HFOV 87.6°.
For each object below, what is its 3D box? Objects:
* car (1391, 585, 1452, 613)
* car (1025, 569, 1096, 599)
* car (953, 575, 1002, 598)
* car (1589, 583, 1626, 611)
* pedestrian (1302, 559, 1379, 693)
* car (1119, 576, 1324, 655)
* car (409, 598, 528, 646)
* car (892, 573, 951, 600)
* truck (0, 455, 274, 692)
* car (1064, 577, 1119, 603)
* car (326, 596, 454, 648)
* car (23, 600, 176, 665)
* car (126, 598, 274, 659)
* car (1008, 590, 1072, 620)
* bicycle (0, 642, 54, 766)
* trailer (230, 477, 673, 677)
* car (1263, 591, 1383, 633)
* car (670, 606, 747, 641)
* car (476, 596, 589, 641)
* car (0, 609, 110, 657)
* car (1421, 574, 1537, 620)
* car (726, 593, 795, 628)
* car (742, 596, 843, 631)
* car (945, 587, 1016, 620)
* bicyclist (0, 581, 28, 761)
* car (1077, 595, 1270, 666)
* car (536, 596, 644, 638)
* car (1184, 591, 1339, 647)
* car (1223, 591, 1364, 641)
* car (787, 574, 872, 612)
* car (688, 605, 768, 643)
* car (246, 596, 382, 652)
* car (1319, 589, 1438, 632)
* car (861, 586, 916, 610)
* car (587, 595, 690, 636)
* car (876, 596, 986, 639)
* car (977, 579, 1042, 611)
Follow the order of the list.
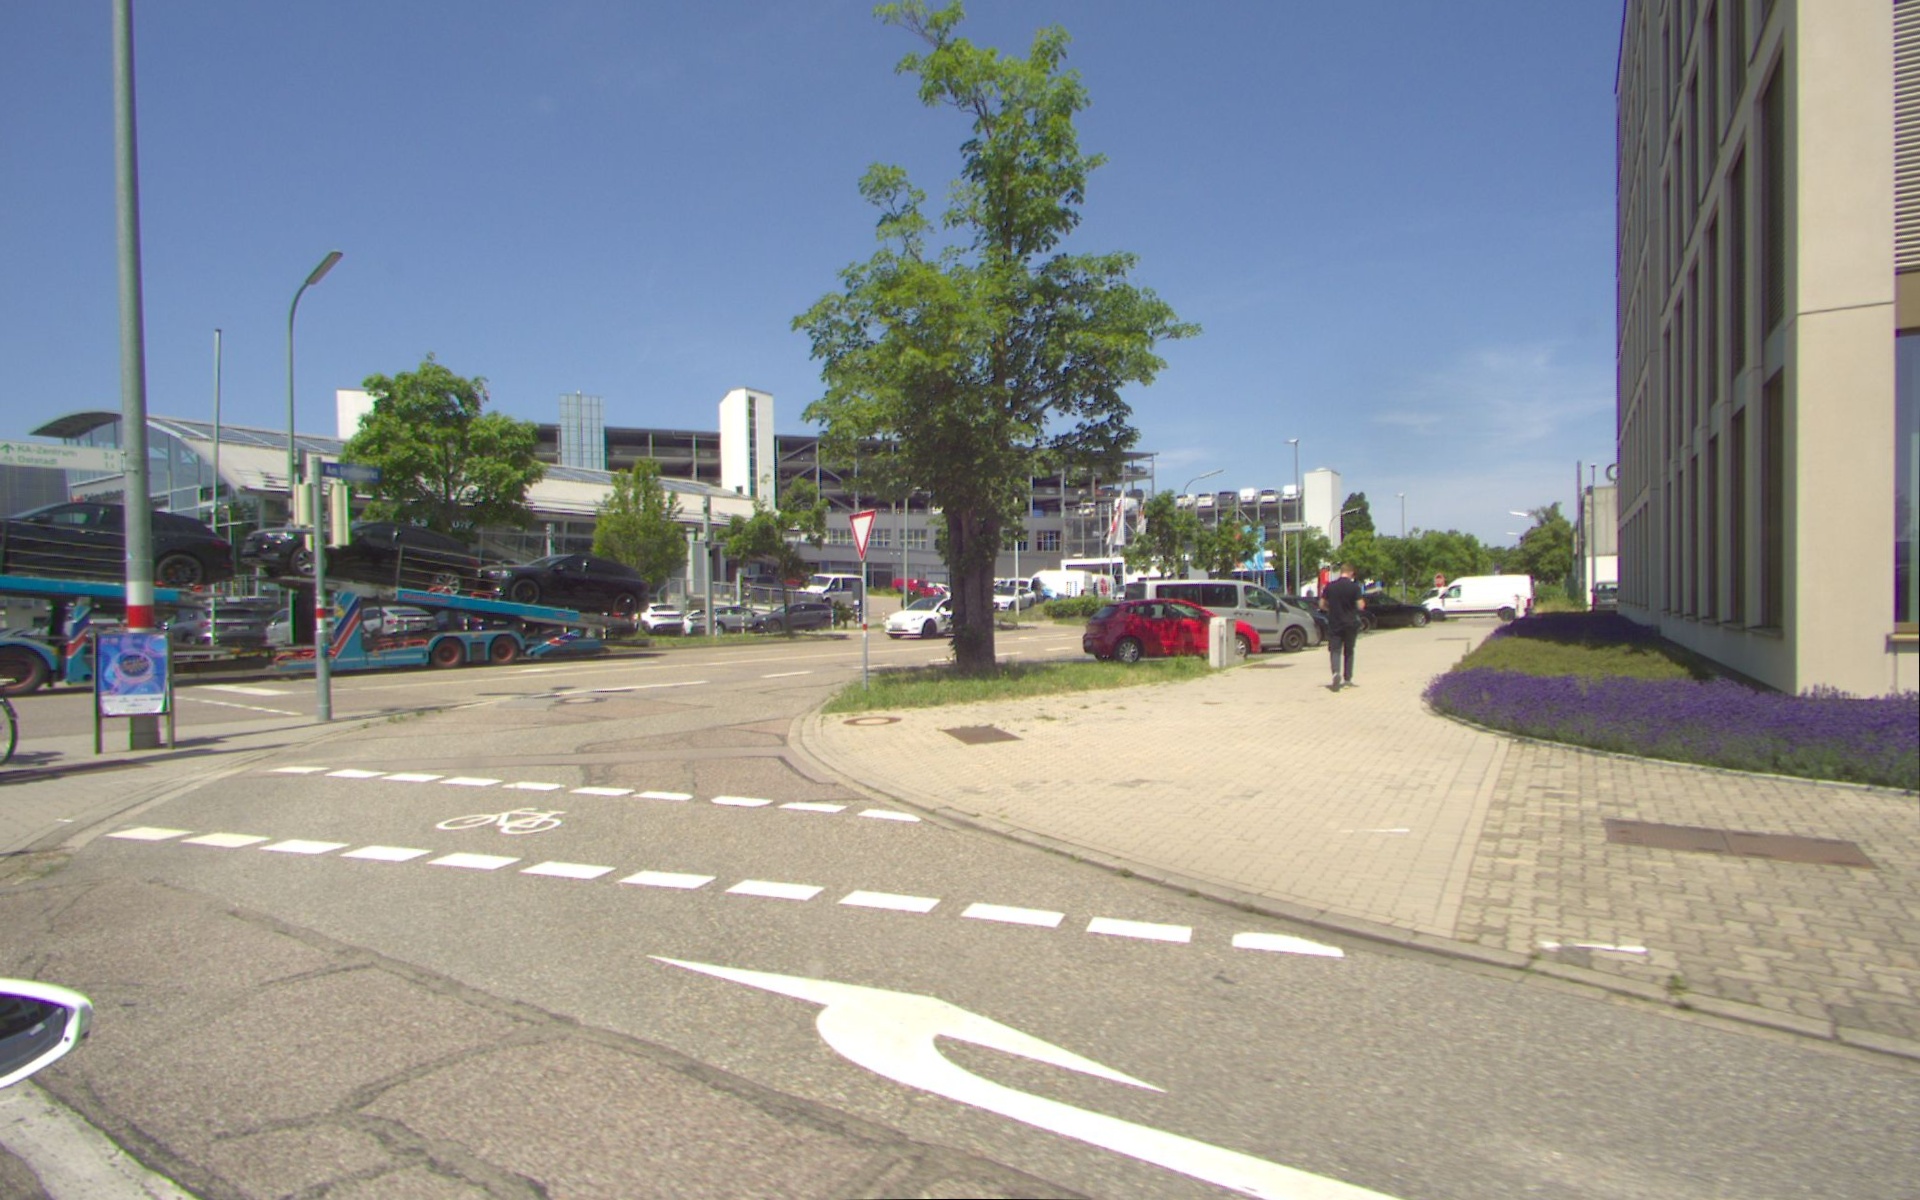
[{"bbox_3d":[35.128,-0.043,76.271,3.948,2.040,1.987,-1,0,36],"label":"car"},{"bbox_3d":[7.159,-1.117,71.443,4.577,2.040,1.990,-1,0,32],"label":"car"},{"bbox_3d":[1.675,-1.275,94.964,4.256,2.040,1.990,-1,0,32],"label":"car"},{"bbox_3d":[37.304,-0.176,57.737,1.764,1.542,3.557,-1,0,32],"label":"car"},{"bbox_3d":[5.525,0.369,14.527,0.764,1.869,0.861,-2,0,39],"label":"pedestrian"},{"bbox_3d":[6.707,0.375,25.813,4.814,1.840,1.703,-1,1,-11],"label":"car"},{"bbox_3d":[-18.046,0.767,36.717,4.409,1.662,1.824,0,1,32],"label":"car"},{"bbox_3d":[-3.079,-1.077,80.342,4.285,2.040,1.991,-1,0,29],"label":"car"},{"bbox_3d":[-18.676,-0.465,17.519,3.063,4.137,10.569,1,1,39],"label":"truck"},{"bbox_3d":[10.607,-0.805,80.878,3.944,2.040,1.989,-1,0,33],"label":"car"},{"bbox_3d":[-19.552,0.720,34.280,4.458,1.662,1.881,0,1,32],"label":"car"},{"bbox_3d":[-23.643,0.829,27.501,4.206,1.662,1.990,0,1,31],"label":"car"},{"bbox_3d":[-22.457,0.799,29.553,4.491,1.662,1.990,0,1,32],"label":"car"},{"bbox_3d":[5.528,0.336,69.338,3.942,2.040,1.990,-1,0,31],"label":"car"},{"bbox_3d":[-9.924,1.006,9.945,1.891,1.142,0.786,0,0,28],"label":"bicycle"},{"bbox_3d":[-12.244,-0.515,25.320,3.057,4.136,9.568,1,1,40],"label":"trailer"},{"bbox_3d":[13.725,0.439,37.959,3.923,1.483,1.718,-1,0,-7],"label":"car"},{"bbox_3d":[-13.607,1.243,54.119,3.713,1.795,1.761,-1,0,-29],"label":"car"},{"bbox_3d":[-16.680,0.704,39.062,4.408,1.661,1.825,0,0,31],"label":"car"},{"bbox_3d":[-41.784,1.481,45.846,1.971,2.040,3.978,-1,0,32],"label":"car"},{"bbox_3d":[29.653,-0.167,57.332,5.720,2.568,2.090,0,1,34],"label":"car"},{"bbox_3d":[-11.947,0.609,60.132,1.838,2.040,3.733,0,0,40],"label":"car"},{"bbox_3d":[-8.360,0.650,50.184,4.704,1.662,1.820,-1,1,-36],"label":"car"},{"bbox_3d":[1.291,0.225,62.270,3.942,2.040,1.990,-1,0,31],"label":"car"},{"bbox_3d":[-9.822,0.695,9.858,0.742,1.772,0.733,0,0,27],"label":"bicyclist"},{"bbox_3d":[4.790,0.660,22.658,3.924,1.454,1.609,-1,0,-9],"label":"car"},{"bbox_3d":[-15.287,0.669,41.318,4.409,1.662,1.824,0,1,32],"label":"car"},{"bbox_3d":[8.626,0.527,28.798,3.924,1.483,1.718,-1,0,-9],"label":"car"},{"bbox_3d":[10.629,0.499,32.005,3.924,1.483,1.718,-1,0,-9],"label":"car"},{"bbox_3d":[-7.270,-0.396,56.346,1.971,2.040,5.118,0,0,31],"label":"car"},{"bbox_3d":[-11.938,1.206,51.615,3.660,1.801,1.738,-1,0,-32],"label":"car"},{"bbox_3d":[-20.793,0.727,32.201,4.376,1.662,1.989,0,1,31],"label":"car"},{"bbox_3d":[17.236,0.450,41.373,4.075,1.558,1.815,-2,-1,2],"label":"car"},{"bbox_3d":[-5.479,-0.133,76.611,3.942,1.810,1.730,-1,0,32],"label":"car"},{"bbox_3d":[-14.026,0.646,43.643,4.409,1.662,1.824,0,1,32],"label":"car"},{"bbox_3d":[-1.105,0.650,40.195,1.974,1.609,4.663,0,0,37],"label":"car"},{"bbox_3d":[3.321,-0.317,67.118,3.942,2.040,1.840,-1,0,32],"label":"car"}]
